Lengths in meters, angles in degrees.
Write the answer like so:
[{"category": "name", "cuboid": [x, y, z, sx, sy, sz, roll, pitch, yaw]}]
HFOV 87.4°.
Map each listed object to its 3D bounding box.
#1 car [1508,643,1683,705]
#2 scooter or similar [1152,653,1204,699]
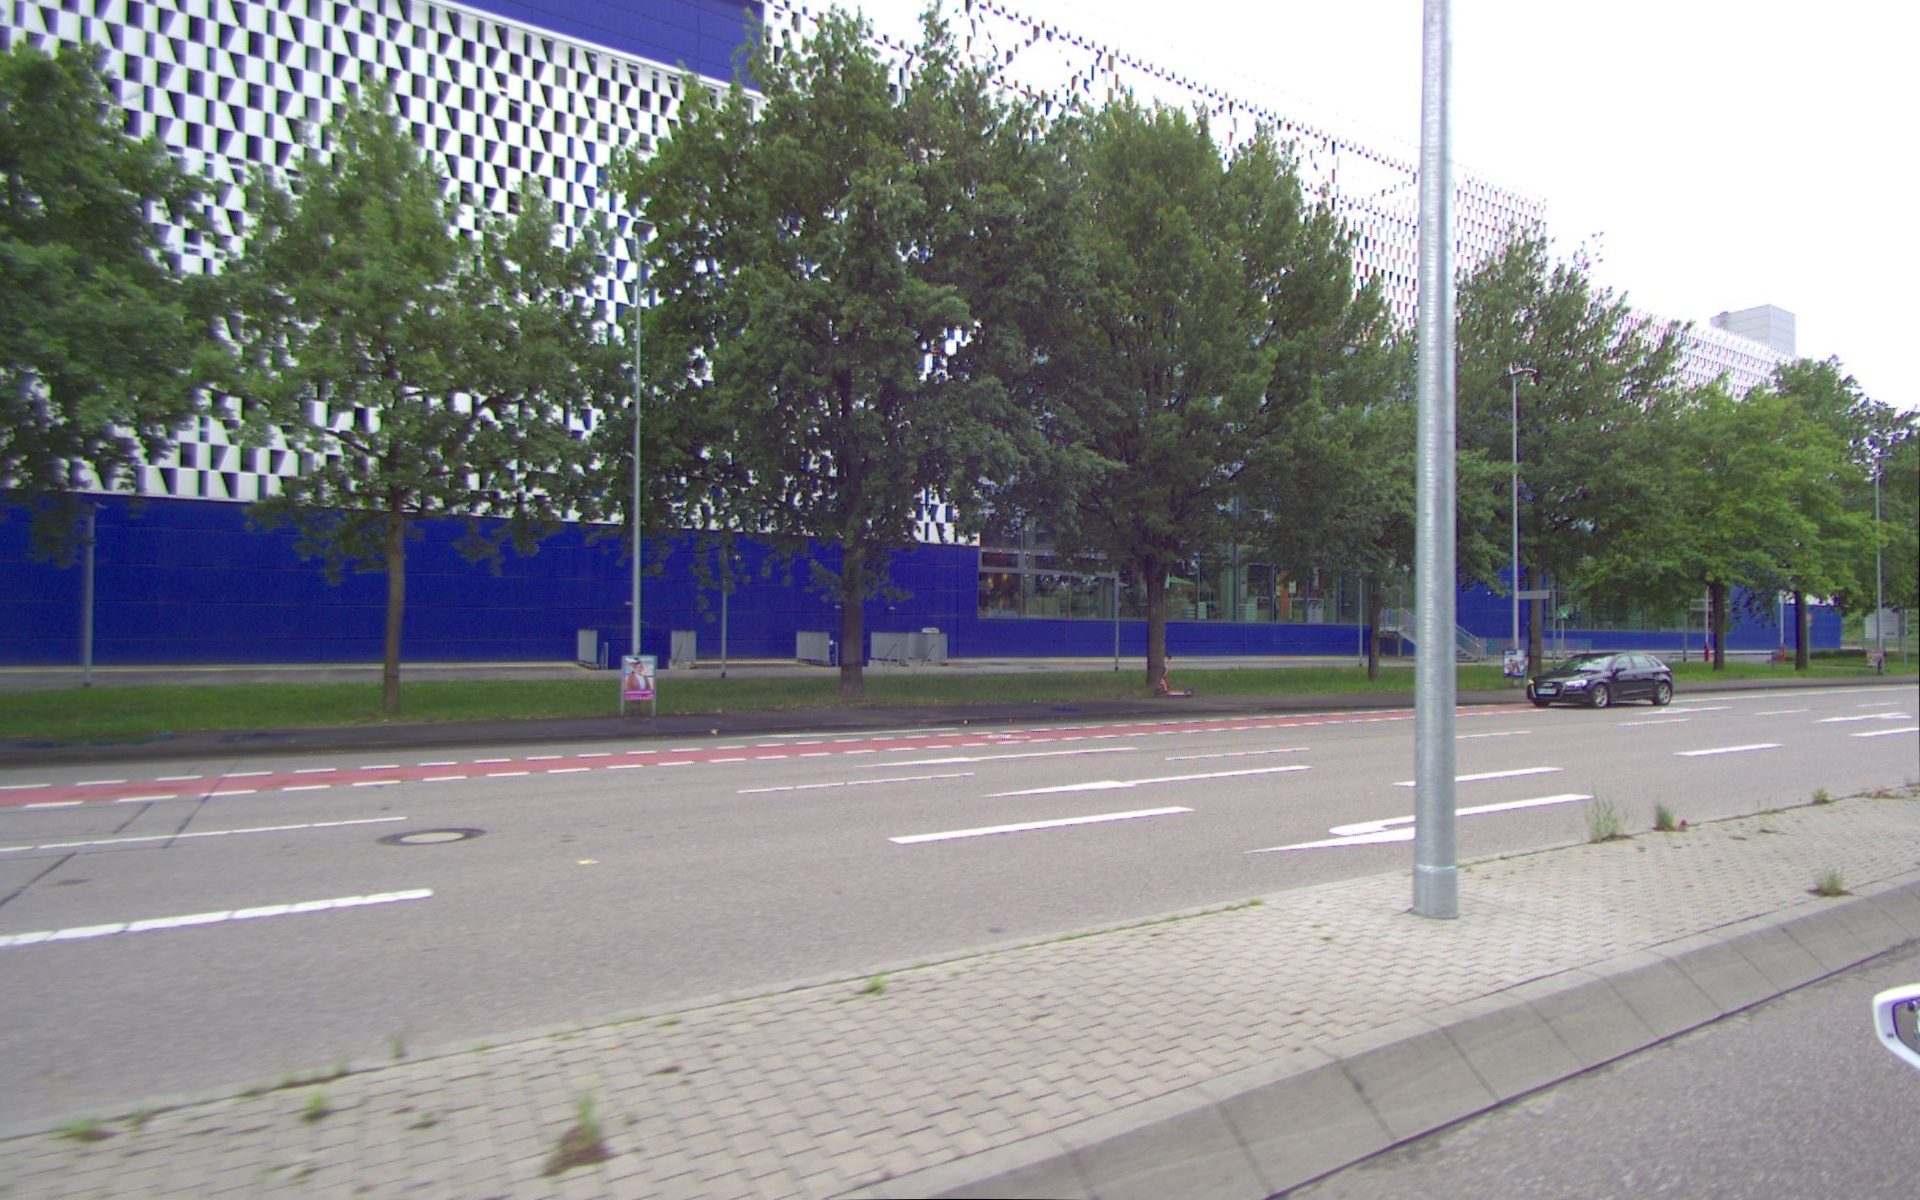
[{"category": "car", "cuboid": [16.893, 1.957, 26.710, 4.192, 1.521, 1.914, 2, -4, -24]}, {"category": "scooter or similar", "cuboid": [6.095, 2.106, 28.041, 1.363, 1.212, 0.651, 1, 0, -33]}]
